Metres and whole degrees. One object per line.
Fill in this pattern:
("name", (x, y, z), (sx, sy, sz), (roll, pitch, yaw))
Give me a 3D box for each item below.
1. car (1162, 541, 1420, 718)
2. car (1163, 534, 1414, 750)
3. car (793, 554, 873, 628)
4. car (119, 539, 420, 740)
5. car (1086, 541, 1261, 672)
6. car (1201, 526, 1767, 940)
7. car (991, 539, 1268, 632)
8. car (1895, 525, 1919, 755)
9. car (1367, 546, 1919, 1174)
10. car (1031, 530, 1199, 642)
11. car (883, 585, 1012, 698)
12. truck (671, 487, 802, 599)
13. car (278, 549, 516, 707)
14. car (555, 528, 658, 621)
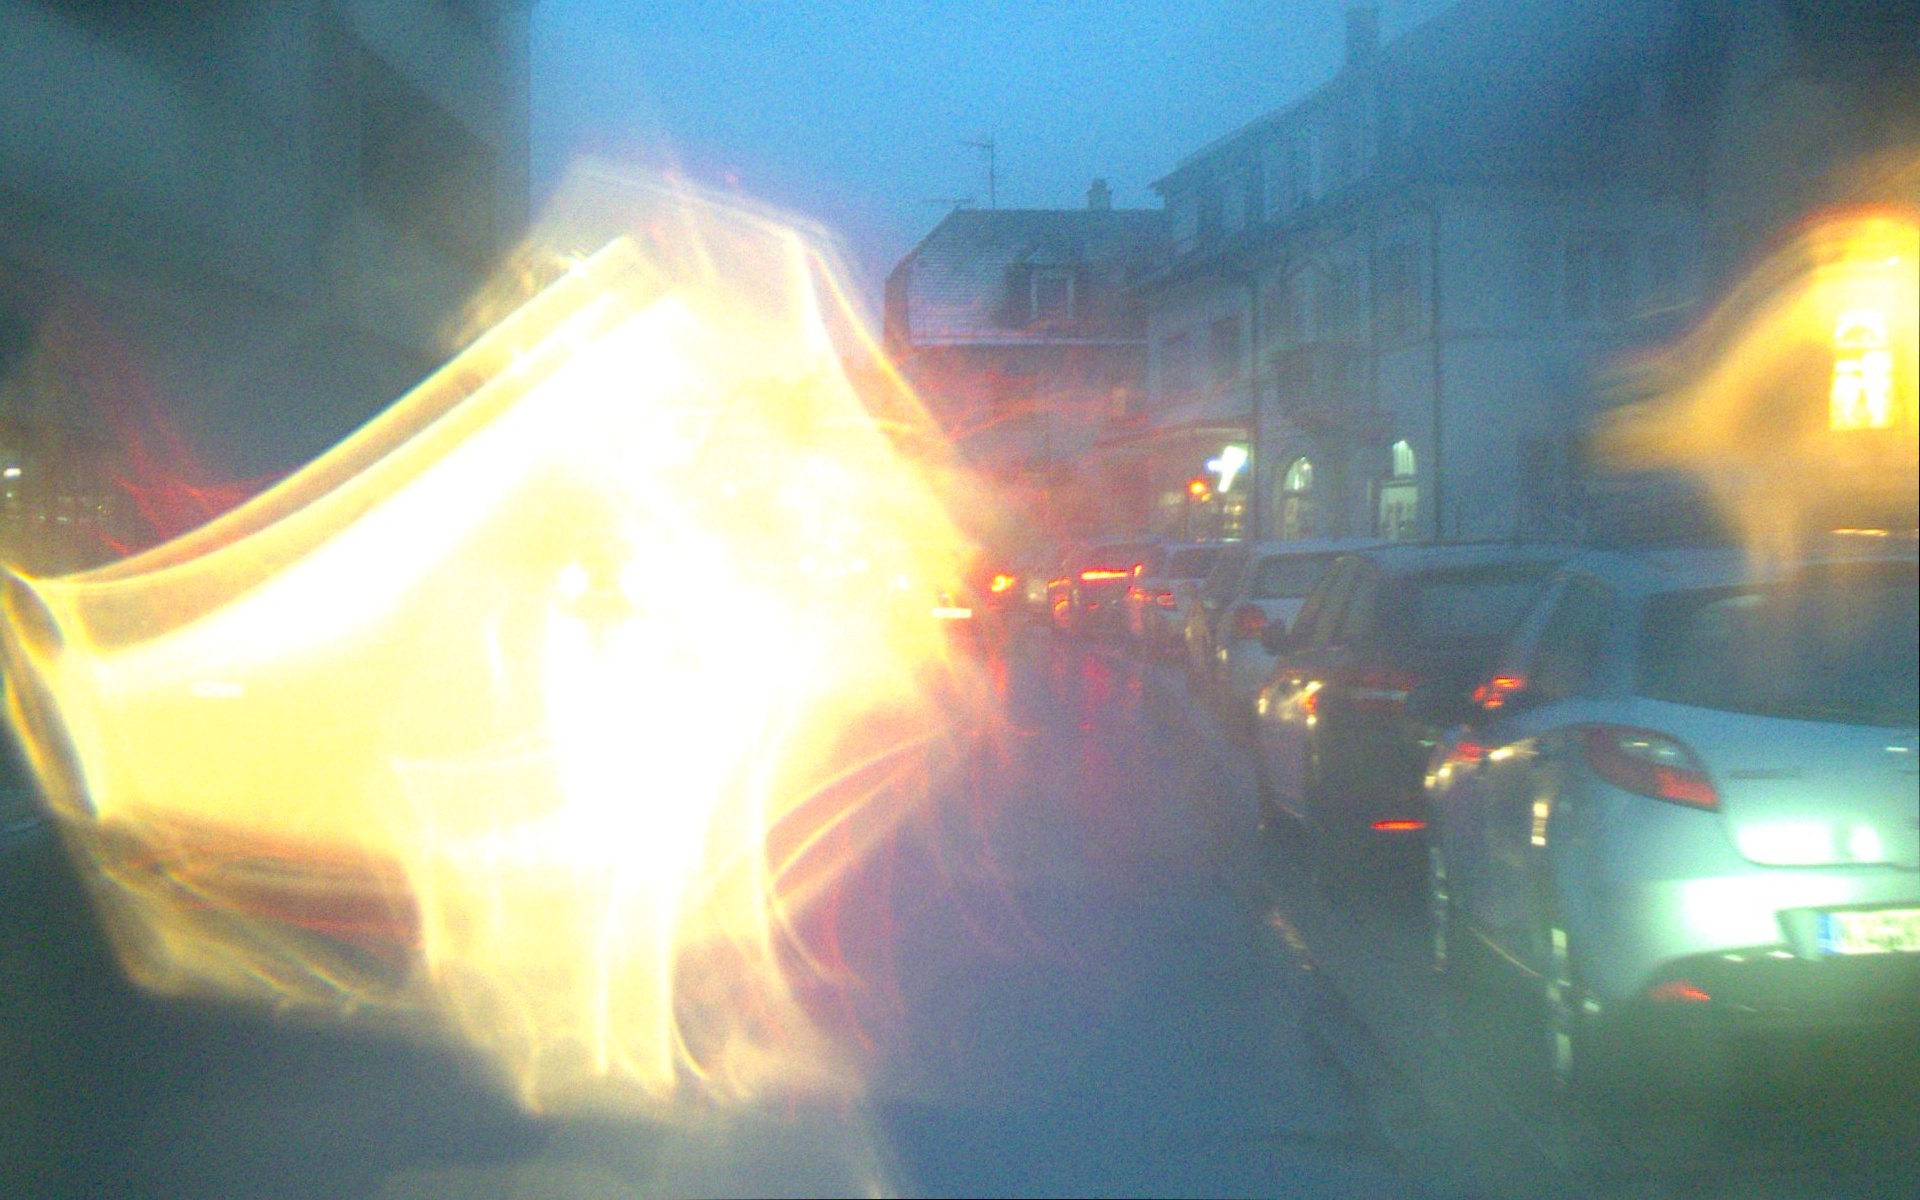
("car", (2.931, 0.225, 31.326), (1.823, 1.418, 4.608), (-2, 1, 0))
("car", (2.386, 0.265, 25.708), (1.626, 1.436, 3.799), (-2, 1, 3))
("car", (-2.711, -0.211, 72.778), (1.638, 1.476, 3.271), (1, 1, -3))
("car", (-5.718, 0.279, 28.891), (1.615, 1.527, 3.928), (2, 1, 1))
("car", (2.563, 0.045, 42.178), (1.794, 1.455, 4.531), (-2, 1, 0))
("car", (2.170, 0.487, 15.413), (1.764, 1.521, 4.390), (-2, 1, -1))
("car", (2.907, -0.270, 59.334), (4.465, 1.468, 1.898), (-1, 1, -8))
("car", (7.621, 0.166, 20.987), (3.289, 1.436, 1.686), (-3, 0, 0))
("car", (2.314, 0.597, 10.257), (1.732, 1.454, 4.000), (-2, 1, 1))
("car", (2.248, -0.243, 51.030), (1.882, 1.541, 4.672), (-1, 1, -5))
("car", (-0.206, 0.549, 47.943), (1.638, 1.476, 3.379), (1, 0, -2))
("truck", (-6.651, -1.684, 101.193), (3.014, 3.118, 8.002), (1, 1, -10))
("car", (-5.591, 0.235, 34.604), (1.675, 1.441, 4.428), (2, 1, -1))
("car", (-6.655, -0.498, 64.447), (1.794, 1.637, 3.813), (1, 1, -7))
